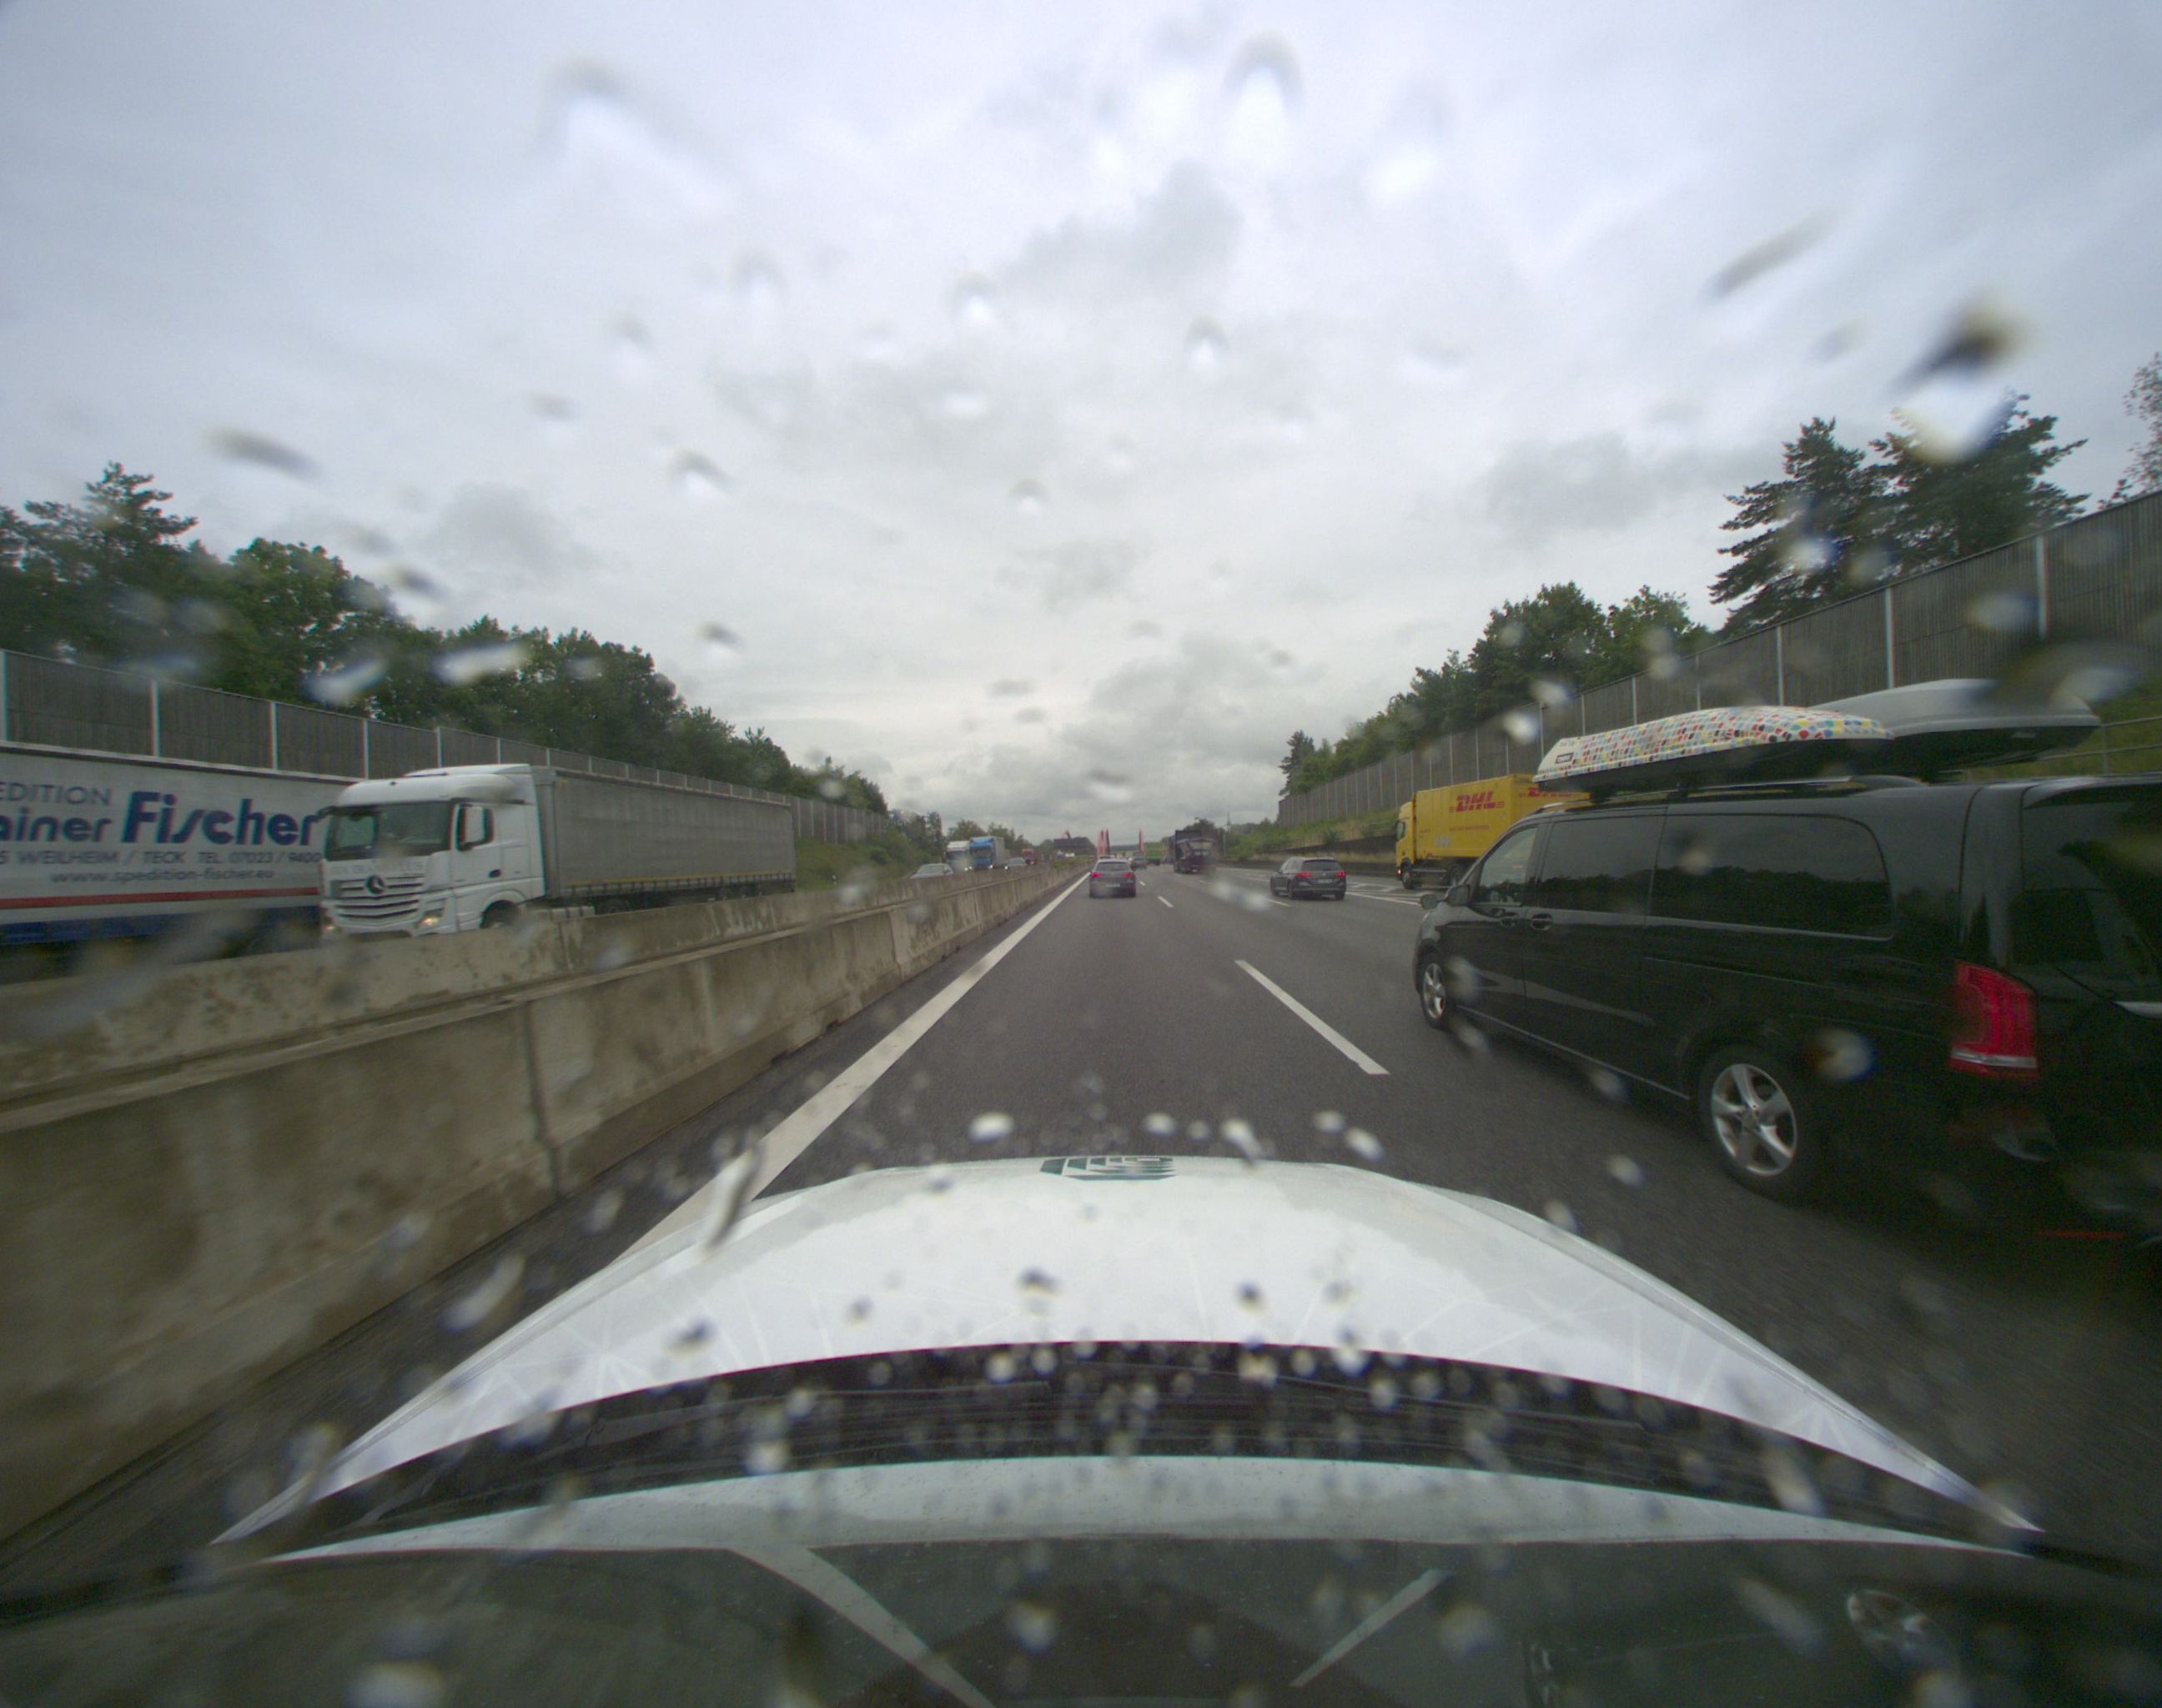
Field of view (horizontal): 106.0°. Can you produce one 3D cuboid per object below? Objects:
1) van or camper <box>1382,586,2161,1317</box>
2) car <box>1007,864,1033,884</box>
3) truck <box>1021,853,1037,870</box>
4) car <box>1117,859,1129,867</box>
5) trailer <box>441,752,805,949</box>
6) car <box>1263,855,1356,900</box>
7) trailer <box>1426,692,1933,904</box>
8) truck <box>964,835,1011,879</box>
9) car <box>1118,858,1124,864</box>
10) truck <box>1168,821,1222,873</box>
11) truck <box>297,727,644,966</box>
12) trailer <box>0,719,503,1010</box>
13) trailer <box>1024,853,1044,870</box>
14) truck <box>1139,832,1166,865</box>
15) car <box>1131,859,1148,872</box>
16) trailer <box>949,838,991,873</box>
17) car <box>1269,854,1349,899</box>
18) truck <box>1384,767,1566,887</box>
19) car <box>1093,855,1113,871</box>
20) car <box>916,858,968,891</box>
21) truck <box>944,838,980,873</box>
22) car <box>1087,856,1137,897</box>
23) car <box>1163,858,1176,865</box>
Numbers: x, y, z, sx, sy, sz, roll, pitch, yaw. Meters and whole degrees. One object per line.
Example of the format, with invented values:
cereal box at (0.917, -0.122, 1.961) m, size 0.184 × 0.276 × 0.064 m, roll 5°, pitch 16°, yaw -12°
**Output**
van or camper at (3.886, 0.326, 5.365) m, size 1.883 × 2.270 × 5.681 m, roll 0°, pitch -1°, yaw 2°
car at (-5.892, 1.914, 79.244) m, size 1.986 × 1.736 × 5.004 m, roll -2°, pitch 0°, yaw 2°
truck at (-11.123, 1.578, 175.040) m, size 2.684 × 3.707 × 6.487 m, roll 0°, pitch -1°, yaw 4°
car at (7.549, 1.620, 145.433) m, size 1.986 × 1.354 × 4.001 m, roll -2°, pitch 0°, yaw 1°
trailer at (-12.457, -0.018, 24.940) m, size 2.769 × 4.325 × 14.029 m, roll 0°, pitch -1°, yaw 2°
car at (7.901, 0.748, 28.698) m, size 1.932 × 1.427 × 5.291 m, roll 0°, pitch 0°, yaw 2°
trailer at (14.708, -0.962, 23.550) m, size 2.641 × 3.953 × 16.687 m, roll 0°, pitch -1°, yaw 1°
truck at (-9.858, 0.378, 87.473) m, size 3.139 × 4.325 × 12.686 m, roll 0°, pitch -1°, yaw 2°
car at (12.146, 2.013, 247.127) m, size 1.985 × 1.815 × 4.003 m, roll 0°, pitch 0°, yaw 3°
truck at (9.697, -0.480, 70.767) m, size 3.078 × 3.950 × 12.947 m, roll -2°, pitch -1°, yaw 1°
truck at (-12.698, -0.110, 17.801) m, size 2.769 × 4.325 × 6.099 m, roll 0°, pitch -1°, yaw 2°
trailer at (-17.494, 0.222, 14.972) m, size 3.078 × 4.325 × 14.343 m, roll -2°, pitch -1°, yaw 2°
trailer at (-10.537, 1.669, 183.430) m, size 2.715 × 3.683 × 12.576 m, roll -2°, pitch 0°, yaw 4°
truck at (11.755, -0.765, 135.050) m, size 3.981 × 5.266 × 11.227 m, roll 0°, pitch -1°, yaw 3°
car at (6.671, 1.286, 93.069) m, size 1.775 × 1.406 × 3.628 m, roll -1°, pitch 0°, yaw 2°
trailer at (-13.215, 0.179, 98.538) m, size 2.893 × 3.935 × 12.448 m, roll -2°, pitch 0°, yaw 2°
car at (7.830, 0.750, 28.357) m, size 1.657 × 1.456 × 4.471 m, roll 0°, pitch -1°, yaw 1°
truck at (14.820, -0.857, 31.710) m, size 2.676 × 3.958 × 9.327 m, roll 0°, pitch -1°, yaw 1°
car at (2.284, 0.904, 83.475) m, size 1.986 × 1.585 × 4.001 m, roll -2°, pitch 0°, yaw 2°
car at (-7.660, 1.115, 45.392) m, size 1.965 × 1.689 × 4.359 m, roll -2°, pitch 0°, yaw 2°
truck at (-13.399, 0.189, 92.258) m, size 2.878 × 3.796 × 5.892 m, roll -2°, pitch 0°, yaw 2°
car at (1.141, 0.811, 31.025) m, size 1.757 × 1.453 × 4.000 m, roll 0°, pitch 0°, yaw 1°
car at (16.149, 1.355, 148.071) m, size 1.986 × 1.354 × 4.001 m, roll -2°, pitch 0°, yaw 2°
